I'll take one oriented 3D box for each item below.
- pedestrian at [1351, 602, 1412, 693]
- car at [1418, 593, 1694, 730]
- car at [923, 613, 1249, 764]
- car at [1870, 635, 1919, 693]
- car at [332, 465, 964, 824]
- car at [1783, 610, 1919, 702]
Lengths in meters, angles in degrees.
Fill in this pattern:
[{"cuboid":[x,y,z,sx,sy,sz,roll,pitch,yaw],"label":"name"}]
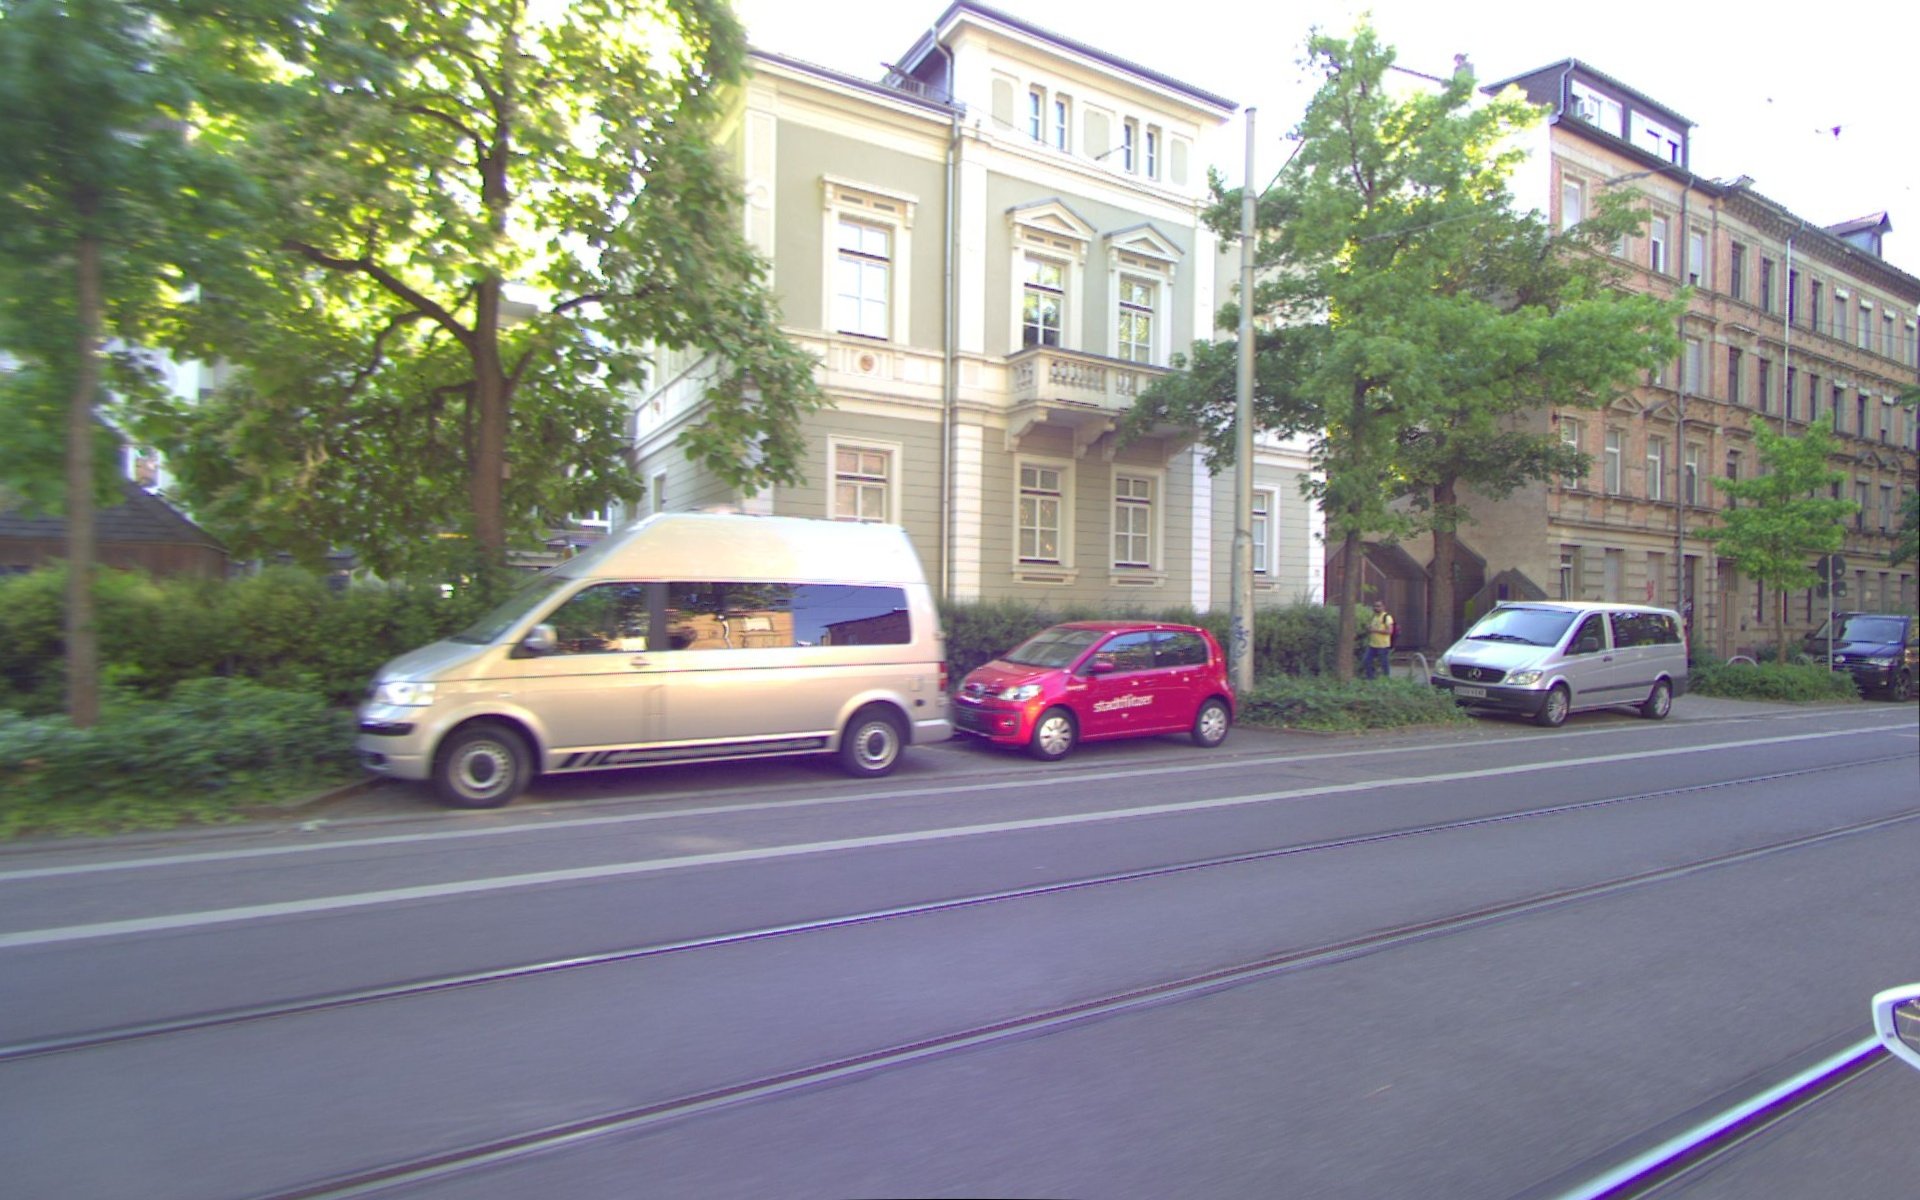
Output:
[{"cuboid":[8.012,0.888,19.088,0.936,1.684,0.602,1,1,-30],"label":"pedestrian"},{"cuboid":[10.095,0.967,16.911,4.929,2.015,1.835,1,-1,-30],"label":"car"},{"cuboid":[1.553,0.960,12.085,3.665,1.560,1.676,1,-1,-31],"label":"car"},{"cuboid":[26.427,1.701,27.016,4.222,1.478,1.843,1,-1,-32],"label":"car"},{"cuboid":[-2.793,0.374,9.508,5.285,2.541,2.291,1,-1,-32],"label":"car"},{"cuboid":[22.103,1.297,24.296,4.780,2.040,1.983,1,-1,-32],"label":"car"}]
